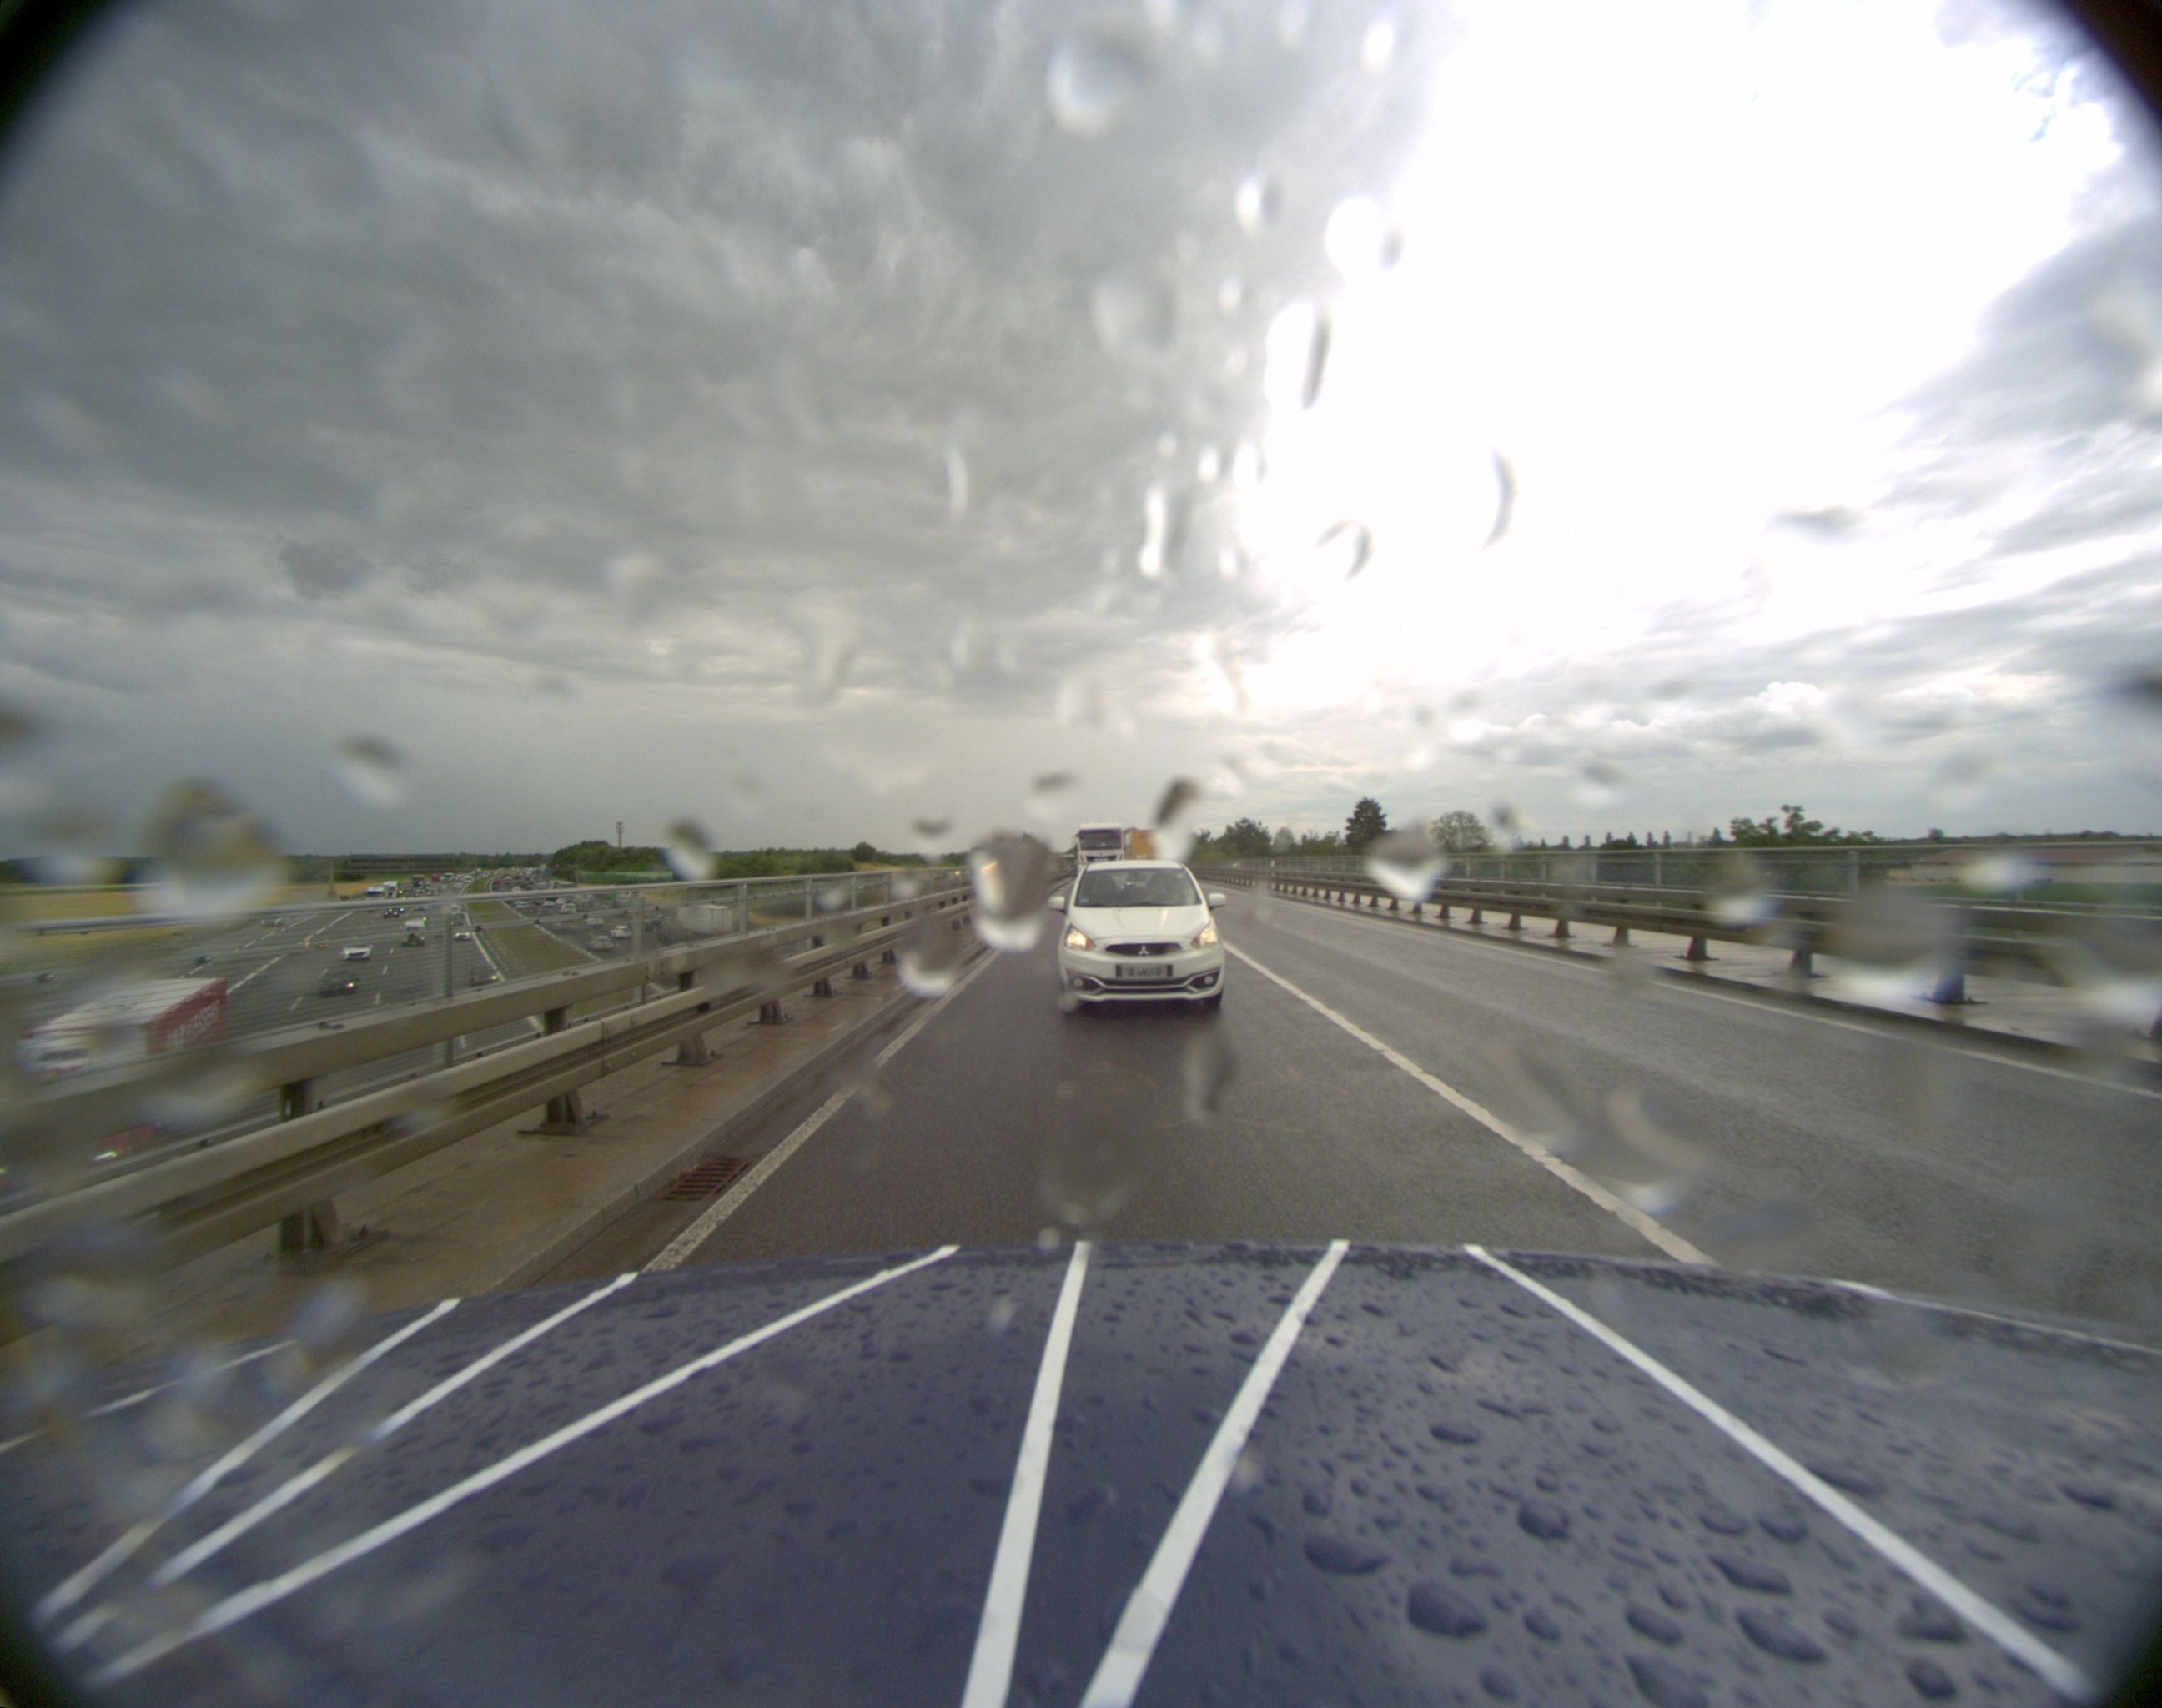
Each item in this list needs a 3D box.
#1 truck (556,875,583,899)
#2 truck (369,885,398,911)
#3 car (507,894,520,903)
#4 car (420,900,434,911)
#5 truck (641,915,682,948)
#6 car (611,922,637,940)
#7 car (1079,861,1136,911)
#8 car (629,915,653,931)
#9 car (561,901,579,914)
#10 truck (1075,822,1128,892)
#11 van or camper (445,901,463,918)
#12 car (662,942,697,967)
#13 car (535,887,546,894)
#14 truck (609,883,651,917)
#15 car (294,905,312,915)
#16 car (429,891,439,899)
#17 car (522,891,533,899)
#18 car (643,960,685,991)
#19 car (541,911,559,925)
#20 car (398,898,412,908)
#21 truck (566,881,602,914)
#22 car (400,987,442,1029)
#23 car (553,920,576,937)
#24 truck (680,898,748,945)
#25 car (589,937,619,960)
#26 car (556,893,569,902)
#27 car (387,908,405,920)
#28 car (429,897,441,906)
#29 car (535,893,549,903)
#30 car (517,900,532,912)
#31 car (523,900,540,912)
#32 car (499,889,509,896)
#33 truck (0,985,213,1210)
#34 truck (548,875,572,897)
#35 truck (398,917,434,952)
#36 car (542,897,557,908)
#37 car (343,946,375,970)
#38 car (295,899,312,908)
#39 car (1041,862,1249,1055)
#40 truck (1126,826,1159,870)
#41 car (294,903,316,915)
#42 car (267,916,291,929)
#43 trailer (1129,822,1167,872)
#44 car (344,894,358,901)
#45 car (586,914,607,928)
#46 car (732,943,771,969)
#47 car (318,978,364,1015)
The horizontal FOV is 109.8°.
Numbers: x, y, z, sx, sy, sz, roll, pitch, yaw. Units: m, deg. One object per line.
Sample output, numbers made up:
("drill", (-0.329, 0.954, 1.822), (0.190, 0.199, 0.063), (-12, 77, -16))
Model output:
("truck", (-122.168, 7.744, 181.421), (3.500, 5.321, 15.588), (-3, 1, -40))
("truck", (-143.225, 8.904, 156.221), (2.799, 4.871, 12.724), (-3, 1, -36))
("car", (-121.581, 9.527, 162.821), (1.860, 1.764, 4.712), (-3, 1, -40))
("car", (-125.414, 9.851, 145.720), (1.860, 1.659, 4.712), (-3, 1, -40))
("truck", (-47.377, 8.668, 85.670), (2.216, 2.948, 9.284), (-3, 1, -40))
("car", (-53.251, 8.989, 88.511), (1.860, 1.659, 4.712), (-3, 1, -40))
("car", (0.826, 0.982, 25.014), (1.675, 1.366, 4.129), (-2, 0, 1))
("car", (-57.055, 8.972, 98.439), (1.860, 1.659, 4.712), (-3, 1, -40))
("car", (-82.582, 8.678, 122.836), (1.860, 1.764, 4.712), (-3, 1, -40))
("truck", (1.056, -0.012, 43.162), (2.630, 3.537, 8.474), (-2, 2, 0))
("van or camper", (-102.929, 9.090, 124.758), (2.063, 2.436, 7.311), (-3, 1, -40))
("car", (-36.678, 9.161, 69.367), (1.860, 1.659, 4.712), (-3, 1, -40))
("car", (-146.777, 9.976, 206.277), (1.860, 1.764, 4.712), (-3, 1, -40))
("truck", (-75.768, 7.558, 127.451), (3.302, 5.135, 15.588), (-3, 1, -40))
("car", (-137.762, 9.902, 134.628), (1.818, 1.427, 4.712), (-3, 1, -41))
("car", (-168.066, 10.663, 197.496), (1.860, 1.659, 4.712), (-3, 1, -40))
("car", (-138.123, 10.153, 189.751), (1.860, 1.764, 4.712), (-3, 1, -40))
("car", (-31.193, 9.032, 56.798), (1.860, 1.659, 4.712), (-3, 1, -40))
("car", (-78.818, 9.466, 112.757), (1.860, 1.659, 4.712), (-3, 1, -40))
("car", (-138.765, 10.020, 155.945), (1.860, 1.659, 4.712), (-3, 1, -40))
("truck", (-90.431, 7.713, 138.053), (3.302, 5.411, 15.588), (-3, 1, -40))
("car", (-40.738, 9.473, 46.971), (1.818, 1.659, 4.712), (-3, 1, -40))
("car", (-64.338, 9.265, 94.631), (1.860, 1.659, 4.712), (-3, 1, -40))
("truck", (-43.557, 7.760, 89.805), (3.611, 4.511, 15.589), (-3, 1, -39))
("car", (-47.606, 9.400, 75.797), (1.860, 1.659, 4.712), (-3, 1, -40))
("car", (-107.594, 9.036, 157.671), (1.860, 1.764, 4.712), (-3, 1, -40))
("car", (-110.919, 9.740, 123.067), (1.860, 1.659, 4.712), (-3, 1, -40))
("car", (-140.106, 10.276, 164.890), (1.860, 1.659, 4.712), (-3, 1, -40))
("car", (-113.062, 9.255, 159.403), (1.860, 1.764, 4.712), (-3, 1, -40))
("car", (-99.112, 9.226, 135.326), (1.860, 1.764, 4.712), (-3, 1, -40))
("car", (-92.066, 8.655, 127.248), (1.860, 1.659, 4.712), (-3, 1, -40))
("car", (-153.577, 10.238, 202.280), (1.860, 1.764, 4.712), (-3, 1, -40))
("truck", (-31.315, 7.269, 24.586), (2.691, 4.599, 9.727), (-3, 1, -40))
("truck", (-138.611, 8.373, 202.041), (3.500, 5.321, 15.588), (-3, 1, -40))
("truck", (-74.579, 8.963, 85.331), (2.601, 3.161, 8.373), (-3, 1, -39))
("car", (-100.721, 9.159, 143.894), (1.860, 1.764, 4.712), (-3, 1, -40))
("car", (-67.381, 9.650, 70.987), (1.818, 1.659, 4.712), (-3, 1, -40))
("car", (-147.482, 9.445, 144.142), (1.818, 1.427, 4.712), (-3, 1, -41))
("car", (0.567, 0.892, 8.371), (1.675, 1.476, 4.129), (-2, 0, 1))
("truck", (5.978, -0.565, 75.374), (2.689, 3.993, 10.055), (-2, 0, 2))
("car", (-123.128, 8.711, 120.561), (1.860, 1.659, 4.712), (-3, 1, -40))
("car", (-113.526, 9.659, 107.570), (1.818, 1.427, 4.712), (-3, 1, -41))
("trailer", (5.761, -0.564, 66.257), (2.689, 4.051, 8.486), (-2, 0, 2))
("car", (-156.933, 9.320, 163.357), (1.818, 1.427, 4.712), (-3, 1, -41))
("car", (-67.270, 9.264, 105.391), (1.860, 1.659, 4.712), (-3, 1, -40))
("car", (-29.172, 8.981, 67.178), (1.860, 1.659, 4.712), (-3, 1, -40))
("car", (-50.571, 9.693, 51.997), (1.818, 1.659, 4.712), (-3, 1, -40))
